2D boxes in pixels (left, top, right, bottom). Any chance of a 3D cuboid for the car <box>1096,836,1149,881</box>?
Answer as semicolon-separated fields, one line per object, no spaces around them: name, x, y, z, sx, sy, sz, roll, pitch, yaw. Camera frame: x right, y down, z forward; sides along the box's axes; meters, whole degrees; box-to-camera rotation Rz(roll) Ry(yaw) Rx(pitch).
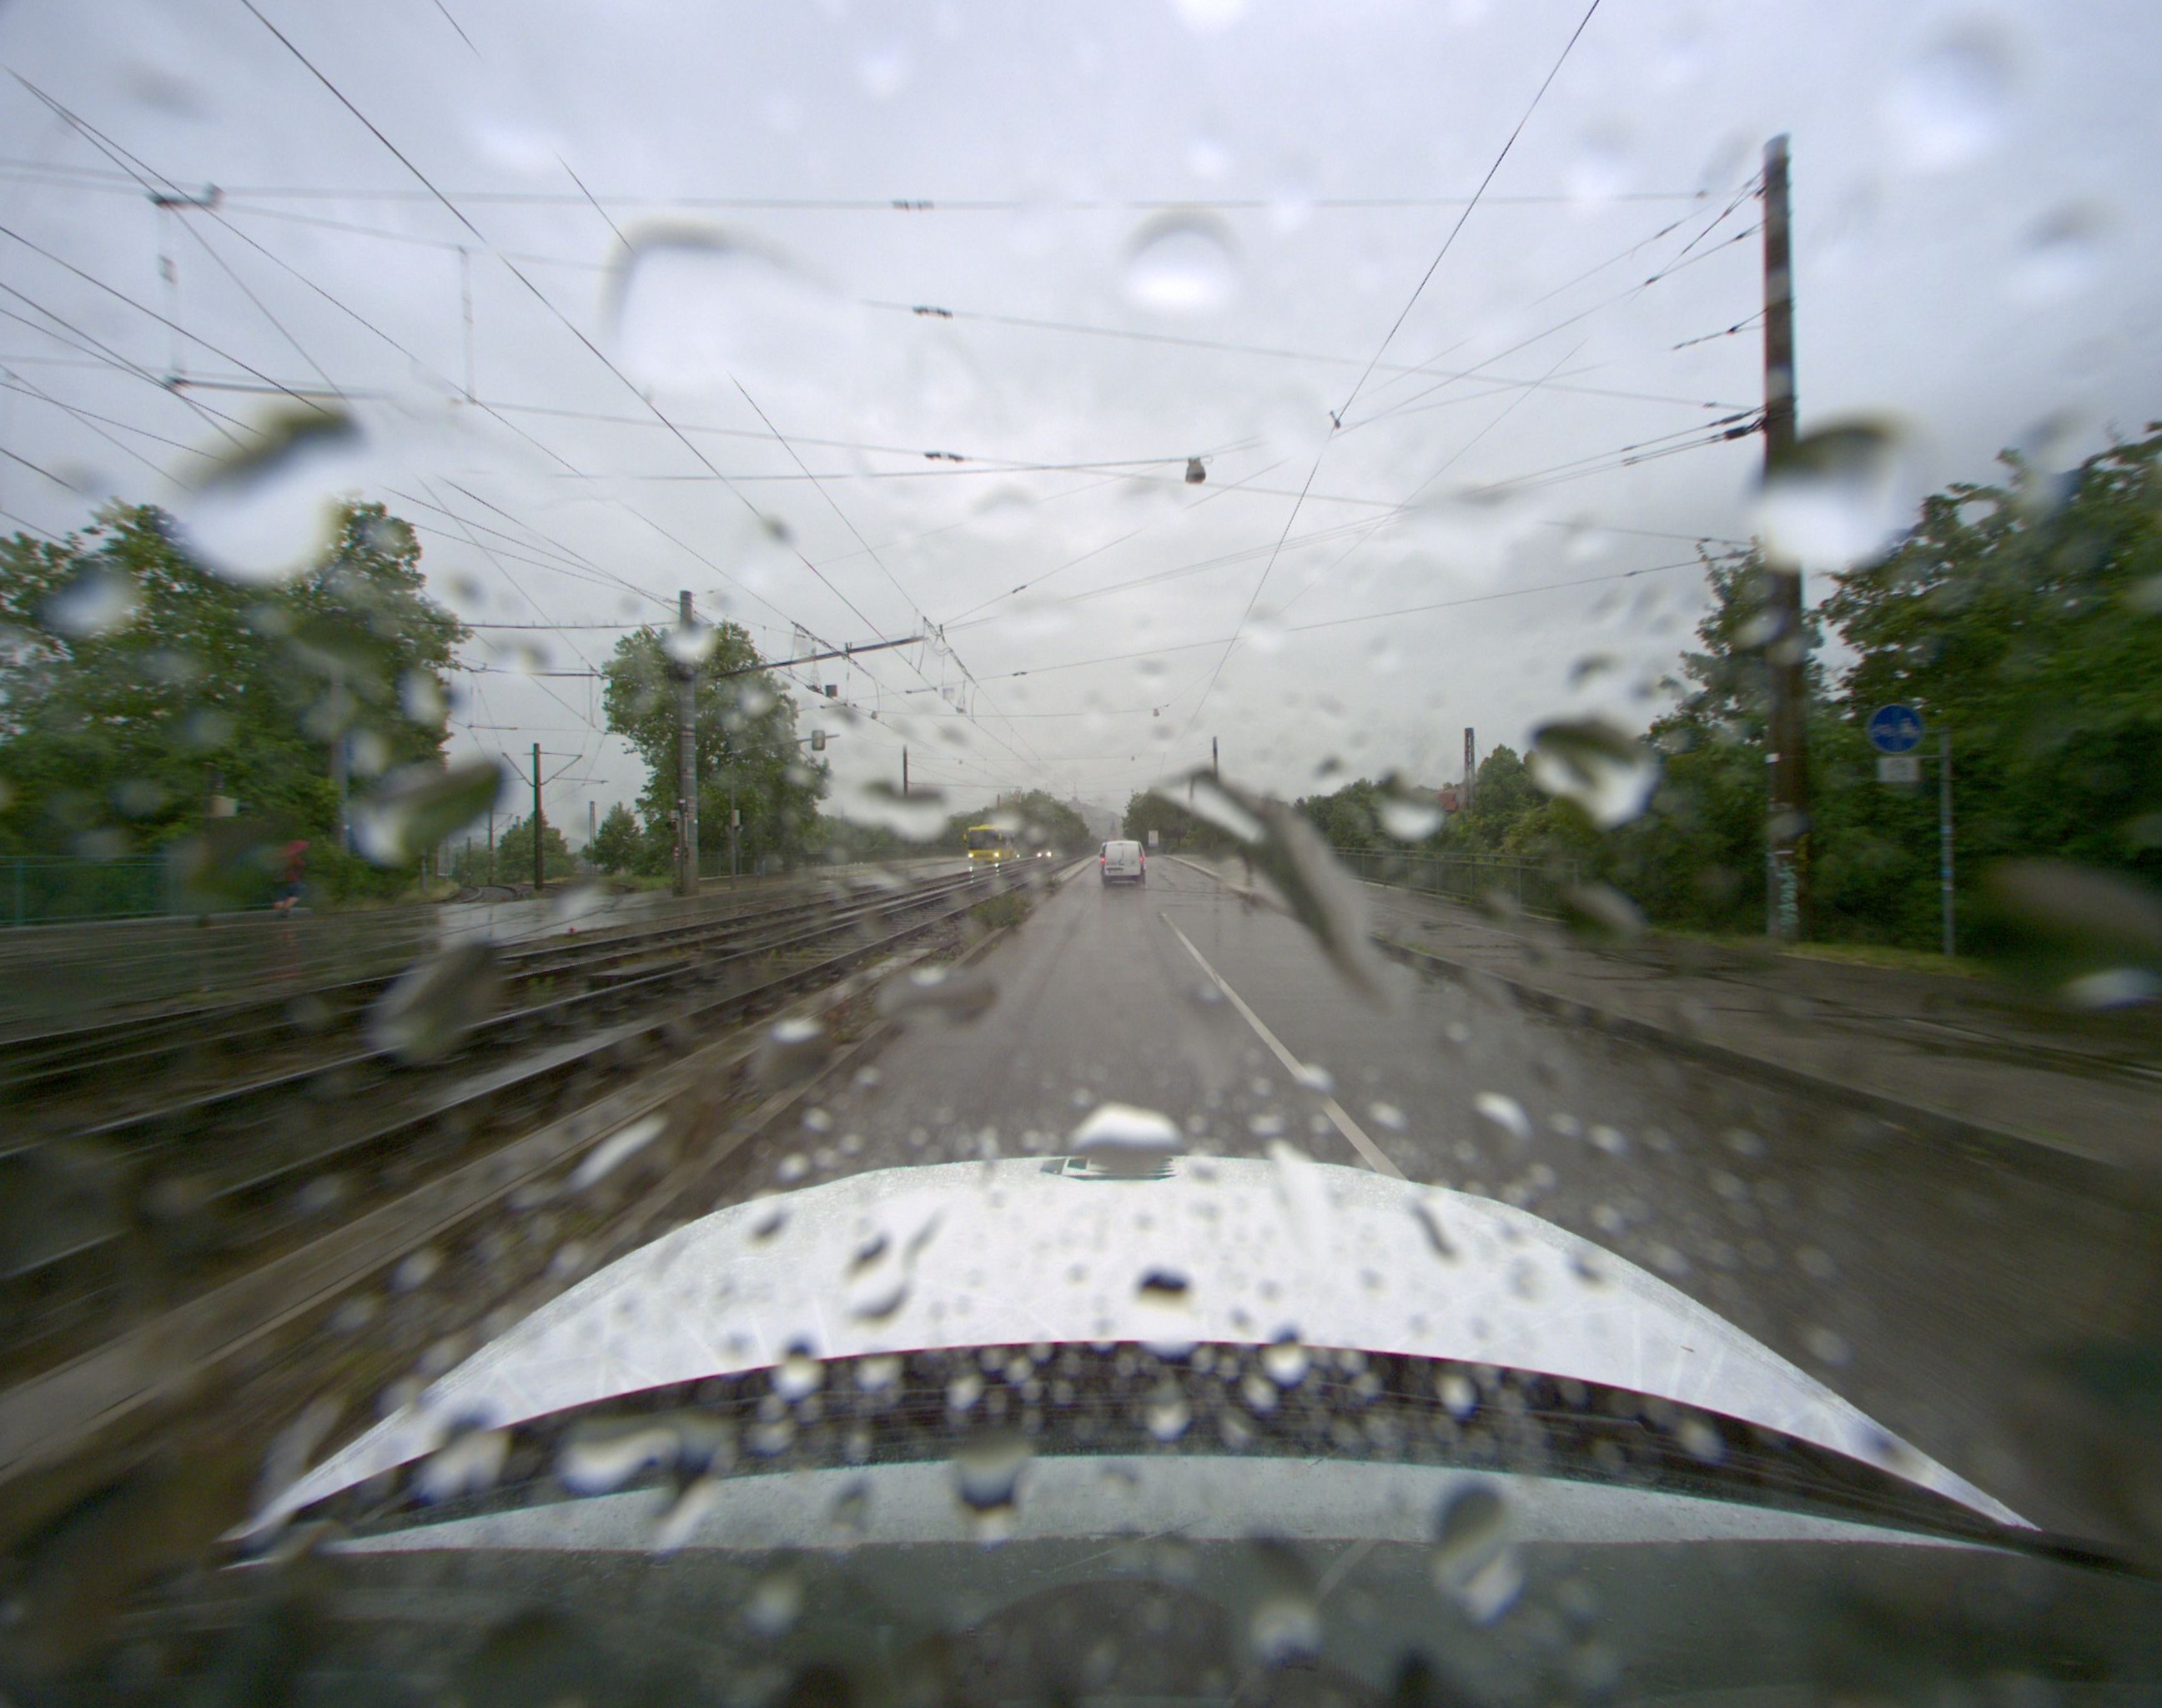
car;1.760;0.185;33.430;1.984;1.726;4.005;1;-1;5

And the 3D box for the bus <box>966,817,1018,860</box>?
bus;-7.644;-1.427;71.693;2.697;3.340;11.002;-2;2;3

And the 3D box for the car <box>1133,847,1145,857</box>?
car;8.717;-0.251;122.039;1.447;1.499;2.980;1;-1;-1

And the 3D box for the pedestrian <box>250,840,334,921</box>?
pedestrian;-18.377;0.614;18.991;0.861;1.819;1.043;1;-1;1

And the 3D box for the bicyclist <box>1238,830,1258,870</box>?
bicyclist;7.497;-0.166;36.506;0.722;1.764;0.950;1;-1;3

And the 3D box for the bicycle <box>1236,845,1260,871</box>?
bicycle;7.481;0.158;36.490;0.720;1.129;2.169;1;0;3

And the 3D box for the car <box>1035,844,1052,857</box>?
car;-5.580;-0.520;120.547;1.985;1.717;4.944;-2;-1;3

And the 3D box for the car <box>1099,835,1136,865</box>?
car;2.237;-0.231;48.949;1.984;1.717;4.005;1;-1;5
